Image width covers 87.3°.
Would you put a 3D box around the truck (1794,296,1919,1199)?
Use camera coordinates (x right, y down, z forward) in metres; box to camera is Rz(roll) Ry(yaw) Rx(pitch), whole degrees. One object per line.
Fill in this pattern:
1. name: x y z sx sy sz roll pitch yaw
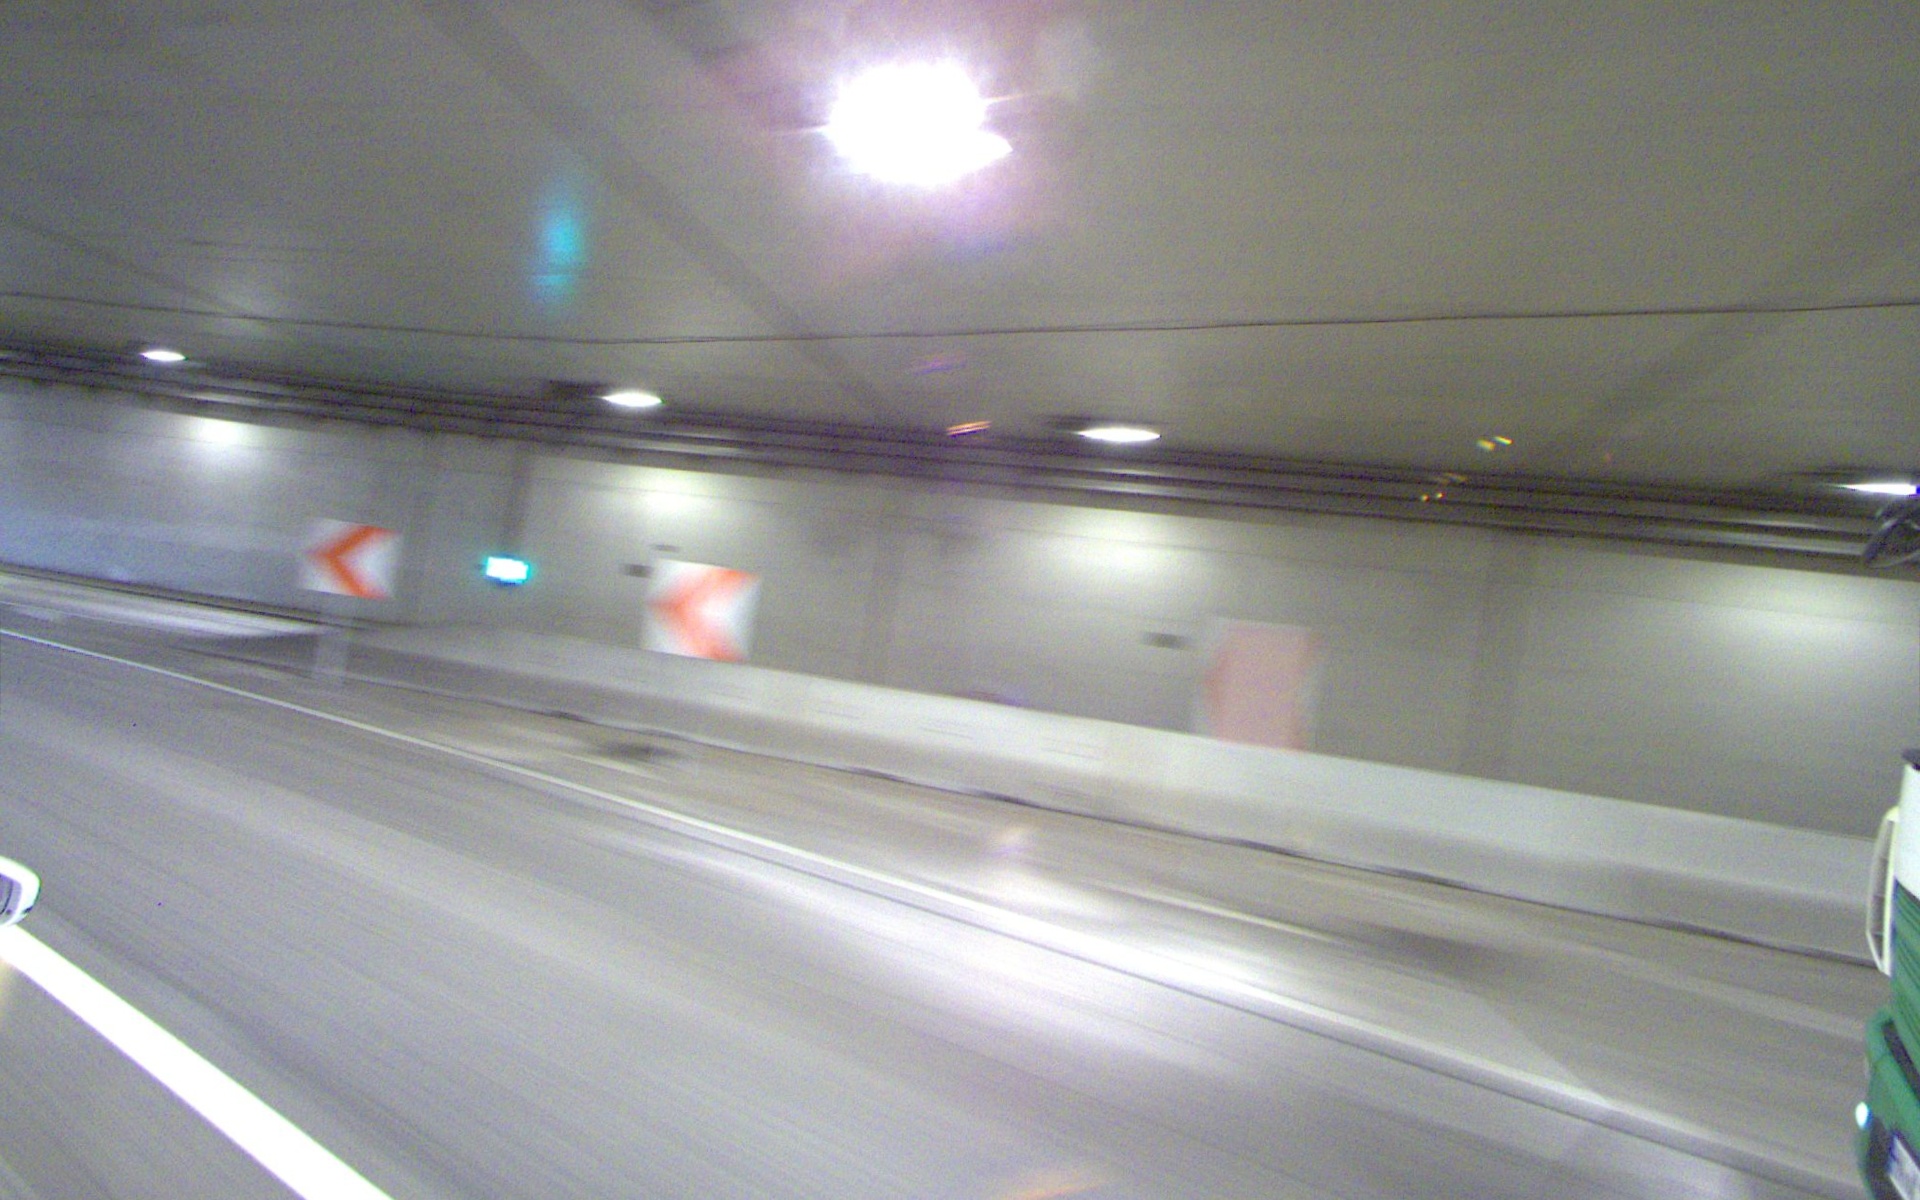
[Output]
1. truck: 5.241 0.571 0.280 7.128 3.219 2.556 8 0 34
